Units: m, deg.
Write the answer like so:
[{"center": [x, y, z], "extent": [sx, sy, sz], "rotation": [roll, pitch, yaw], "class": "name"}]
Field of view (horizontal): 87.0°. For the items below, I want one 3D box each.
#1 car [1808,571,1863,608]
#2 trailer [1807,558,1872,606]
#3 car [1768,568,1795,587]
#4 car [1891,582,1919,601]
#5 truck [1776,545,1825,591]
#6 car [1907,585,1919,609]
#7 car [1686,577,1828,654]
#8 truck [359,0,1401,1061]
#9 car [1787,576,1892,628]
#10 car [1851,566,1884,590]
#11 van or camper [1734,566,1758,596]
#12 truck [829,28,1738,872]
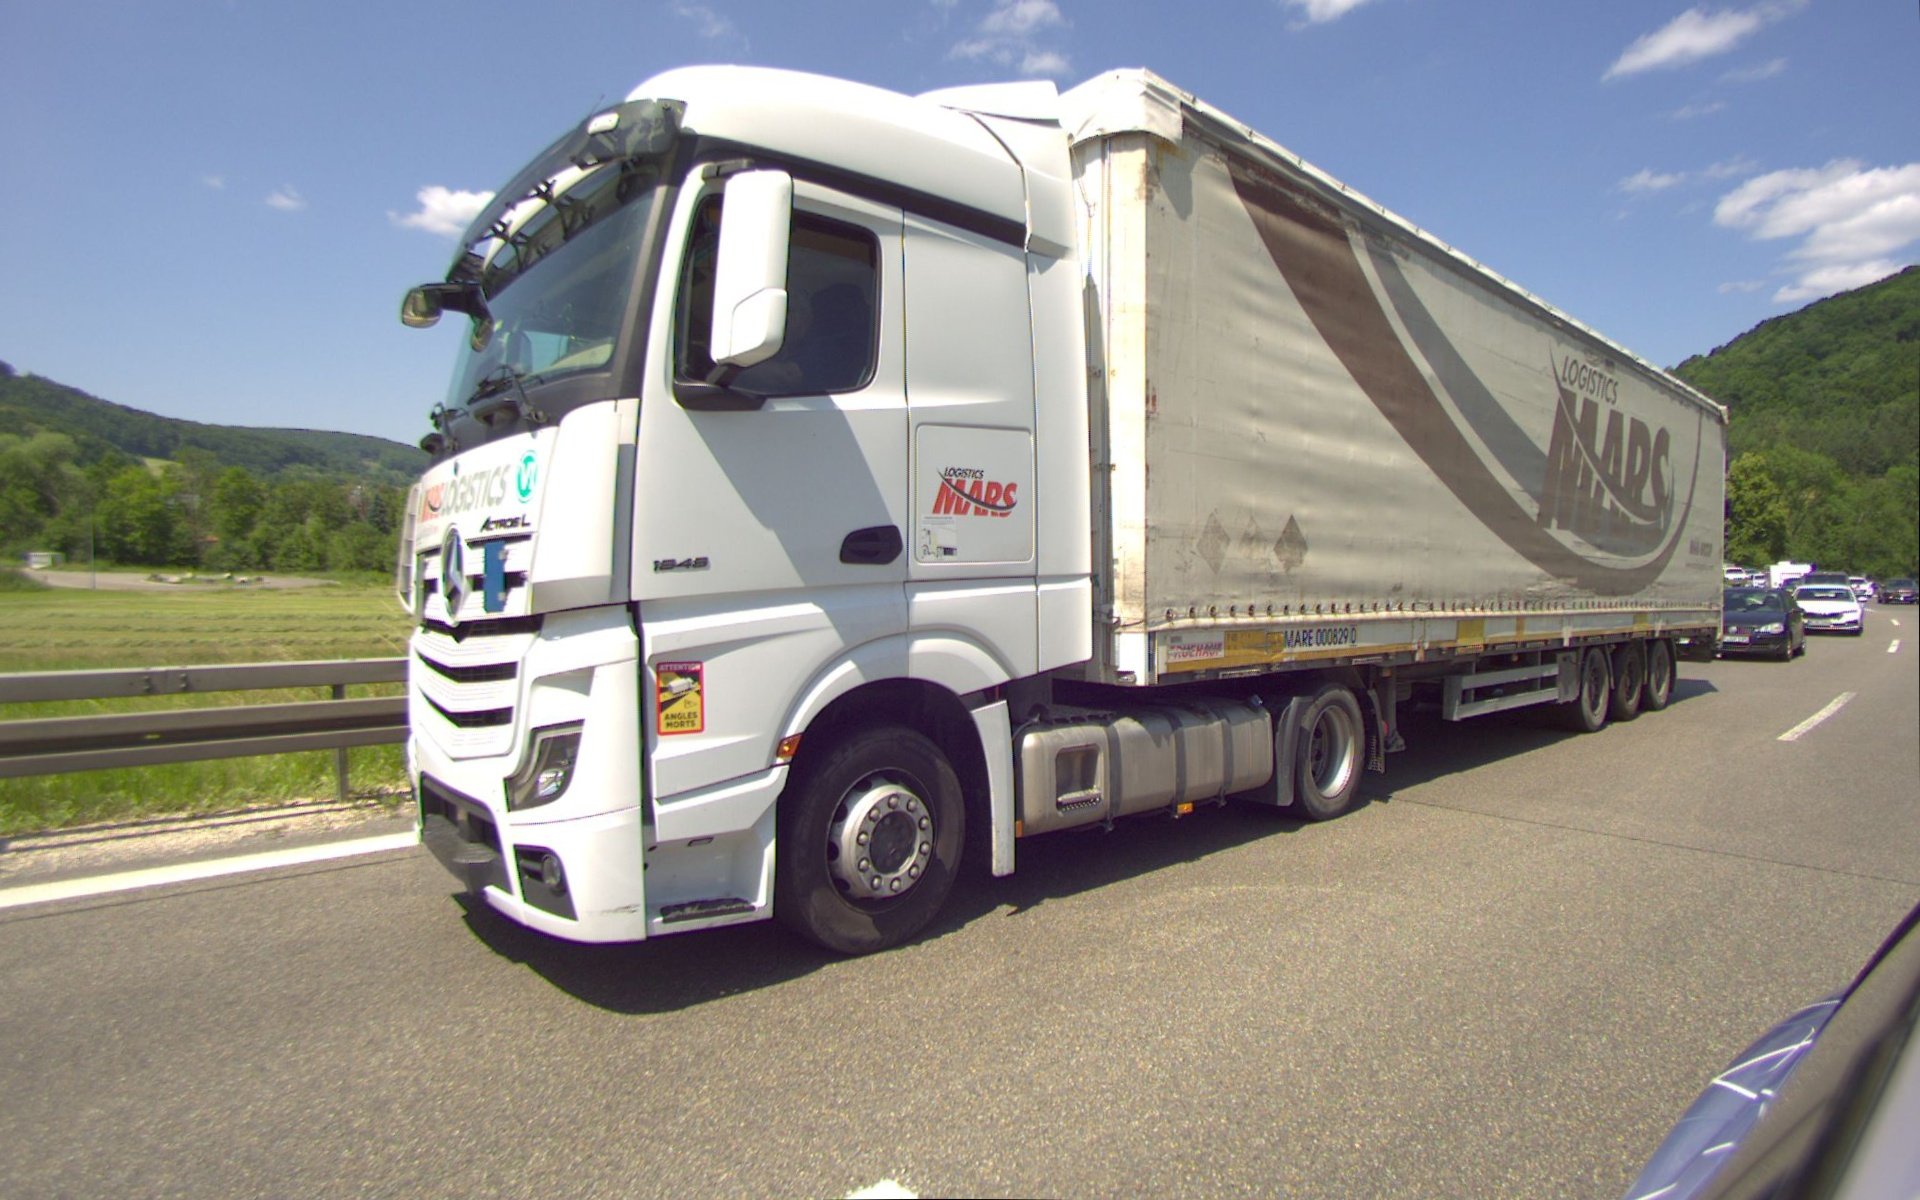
[{"center": [36.266, -0.446, 41.891], "extent": [1.486, 1.400, 3.679], "rotation": [4, 3, 44], "class": "car"}, {"center": [38.867, -0.819, 44.677], "extent": [1.994, 1.994, 3.938], "rotation": [3, 3, 43], "class": "trailer"}, {"center": [73.070, -2.003, 90.004], "extent": [1.692, 1.552, 3.625], "rotation": [-2, -1, 41], "class": "car"}, {"center": [58.744, -0.539, 62.725], "extent": [1.486, 1.123, 3.165], "rotation": [0, 1, 42], "class": "car"}, {"center": [62.293, -2.304, 75.065], "extent": [2.591, 3.147, 6.760], "rotation": [-2, -1, 39], "class": "truck"}, {"center": [46.215, -0.145, 48.234], "extent": [3.162, 1.123, 1.488], "rotation": [-1, 1, -45], "class": "car"}, {"center": [16.453, 0.273, 20.829], "extent": [3.772, 1.440, 1.694], "rotation": [0, 1, -42], "class": "car"}, {"center": [-0.004, -0.742, 5.952], "extent": [5.657, 4.118, 2.723], "rotation": [-1, 1, -43], "class": "truck"}, {"center": [25.891, 0.036, 29.758], "extent": [3.658, 1.448, 1.905], "rotation": [0, 1, -42], "class": "car"}, {"center": [67.801, -1.632, 75.641], "extent": [1.523, 1.658, 3.371], "rotation": [-2, -1, 38], "class": "car"}, {"center": [82.237, -1.979, 105.853], "extent": [1.901, 3.065, 4.807], "rotation": [1, 1, 38], "class": "van or camper"}, {"center": [4.965, -0.847, 10.551], "extent": [13.509, 4.118, 2.729], "rotation": [-1, 1, -43], "class": "truck"}]
